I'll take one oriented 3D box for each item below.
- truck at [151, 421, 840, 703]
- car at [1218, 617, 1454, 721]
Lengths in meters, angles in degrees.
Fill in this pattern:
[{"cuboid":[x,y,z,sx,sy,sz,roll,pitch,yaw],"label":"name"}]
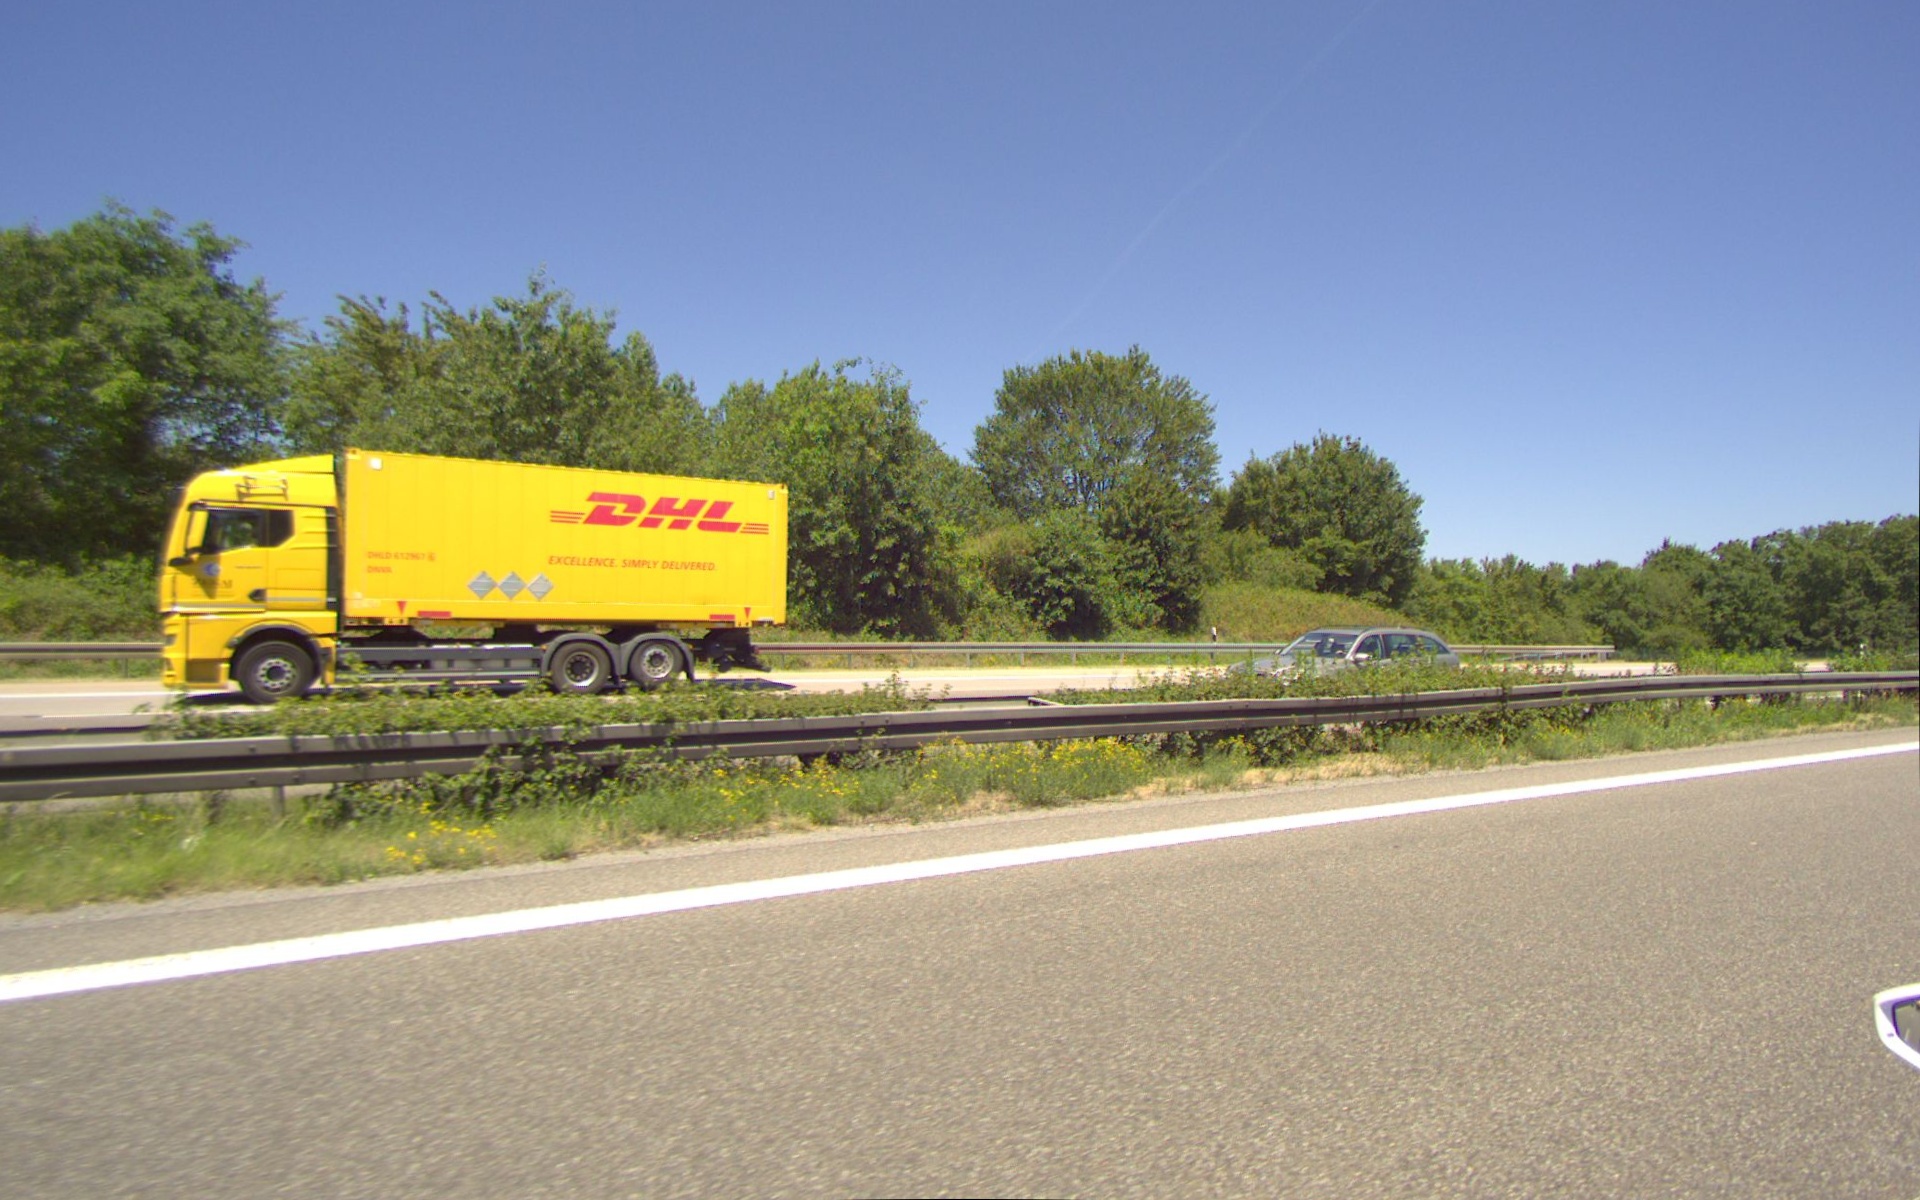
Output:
[{"cuboid":[-7.719,-0.360,18.443,10.666,4.093,2.736,2,-1,-30],"label":"truck"},{"cuboid":[6.550,1.131,17.425,3.935,1.592,1.773,2,-1,-31],"label":"car"}]
